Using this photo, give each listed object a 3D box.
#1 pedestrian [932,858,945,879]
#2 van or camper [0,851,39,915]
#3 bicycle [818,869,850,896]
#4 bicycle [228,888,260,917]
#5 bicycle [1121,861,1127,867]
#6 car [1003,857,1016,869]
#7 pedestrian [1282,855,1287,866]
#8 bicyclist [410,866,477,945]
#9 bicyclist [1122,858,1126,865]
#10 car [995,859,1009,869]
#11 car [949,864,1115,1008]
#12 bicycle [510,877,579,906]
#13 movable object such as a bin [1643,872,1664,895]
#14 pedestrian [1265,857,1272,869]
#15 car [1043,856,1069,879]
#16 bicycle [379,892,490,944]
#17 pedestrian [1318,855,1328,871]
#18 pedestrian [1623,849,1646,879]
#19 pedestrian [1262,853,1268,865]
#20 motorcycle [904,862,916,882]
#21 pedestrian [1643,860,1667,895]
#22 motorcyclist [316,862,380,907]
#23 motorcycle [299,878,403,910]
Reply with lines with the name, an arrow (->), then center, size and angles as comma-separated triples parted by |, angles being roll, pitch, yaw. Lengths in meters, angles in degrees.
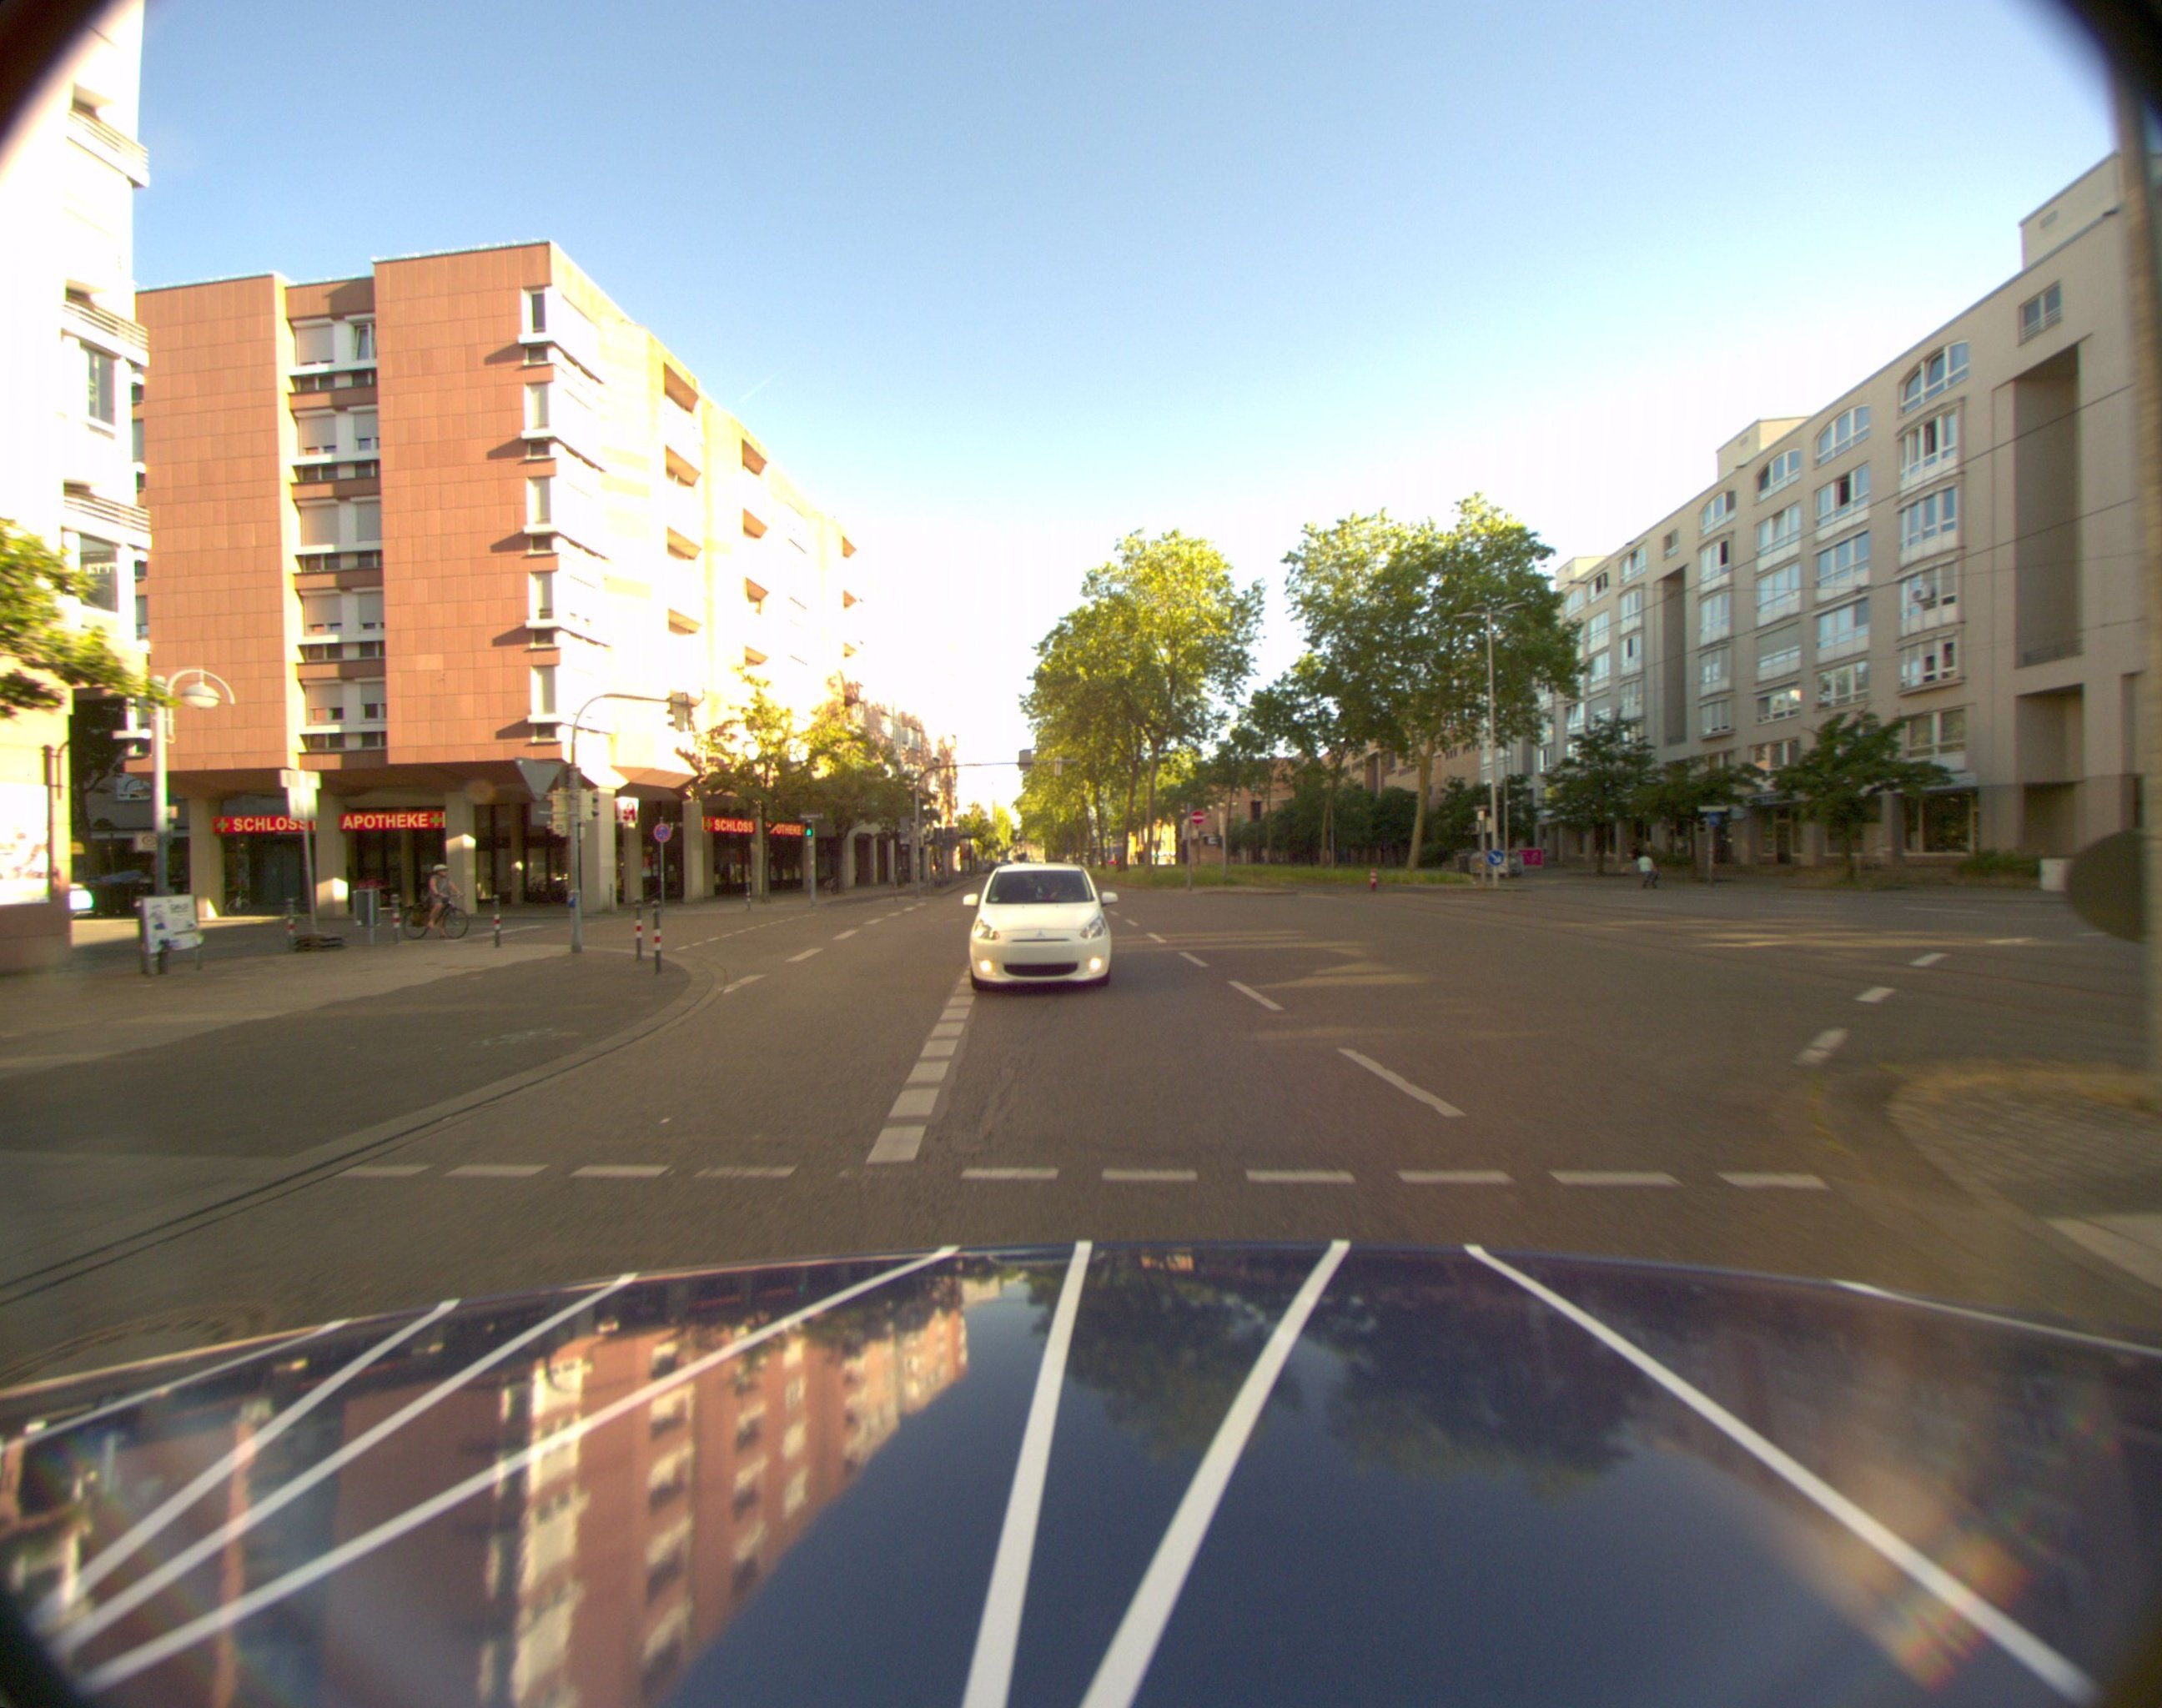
pedestrian -> -11.941, 1.205, 63.727 | 0.782, 1.728, 0.837 | -1, 0, 5
van or camper -> -46.643, 1.249, 30.638 | 2.361, 2.750, 6.441 | -1, 0, -23
bicycle -> -11.822, 1.335, 36.476 | 0.623, 1.218, 1.928 | -1, 0, 9
bicycle -> -30.977, 1.780, 28.114 | 1.314, 1.014, 0.613 | -1, 1, 36
bicycle -> 9.644, 2.219, 170.390 | 0.959, 1.119, 2.435 | -1, 1, -3
car -> -11.334, 1.396, 120.413 | 2.044, 1.932, 5.195 | 1, 0, -5
pedestrian -> 28.200, 0.948, 105.334 | 0.485, 1.496, 0.462 | -1, 0, -25
bicyclist -> -14.679, 1.170, 17.509 | 0.827, 1.760, 0.788 | -1, 1, 4
bicyclist -> 9.629, 1.712, 170.170 | 0.944, 1.561, 1.209 | -1, 0, -4
car -> -11.108, 1.397, 107.148 | 1.706, 1.475, 4.248 | 0, 0, -1
car -> -0.526, 0.927, 10.518 | 1.720, 1.442, 4.425 | -4, 0, 0
bicycle -> -21.719, 1.503, 30.745 | 2.448, 1.088, 0.593 | -1, 1, 5
movable object such as a bin -> 24.027, 1.245, 31.883 | 0.511, 0.948, 0.540 | -1, 0, 9
pedestrian -> 26.013, 1.220, 105.487 | 0.666, 1.712, 0.796 | -1, 0, -5
car -> -1.874, 0.963, 56.057 | 1.824, 1.630, 3.999 | -1, 0, -4
bicycle -> -14.892, 1.457, 17.530 | 1.919, 1.106, 0.804 | -1, 1, 4
pedestrian -> 28.268, 1.074, 88.660 | 0.826, 1.820, 0.901 | -1, 0, -3
pedestrian -> 30.387, 0.533, 41.687 | 0.708, 1.629, 0.789 | -1, 0, 7
pedestrian -> 25.985, 0.698, 107.264 | 0.666, 1.607, 0.756 | -1, 0, -5
motorcycle -> -12.481, 1.284, 55.389 | 0.489, 1.364, 2.090 | -1, 0, -4
pedestrian -> 24.543, 1.002, 32.491 | 0.621, 1.494, 0.533 | -2, 0, -21
motorcyclist -> -29.159, 1.192, 30.254 | 1.174, 1.679, 1.334 | -2, 1, 0
motorcycle -> -28.990, 1.565, 30.225 | 2.826, 1.171, 1.349 | -1, 0, 1
